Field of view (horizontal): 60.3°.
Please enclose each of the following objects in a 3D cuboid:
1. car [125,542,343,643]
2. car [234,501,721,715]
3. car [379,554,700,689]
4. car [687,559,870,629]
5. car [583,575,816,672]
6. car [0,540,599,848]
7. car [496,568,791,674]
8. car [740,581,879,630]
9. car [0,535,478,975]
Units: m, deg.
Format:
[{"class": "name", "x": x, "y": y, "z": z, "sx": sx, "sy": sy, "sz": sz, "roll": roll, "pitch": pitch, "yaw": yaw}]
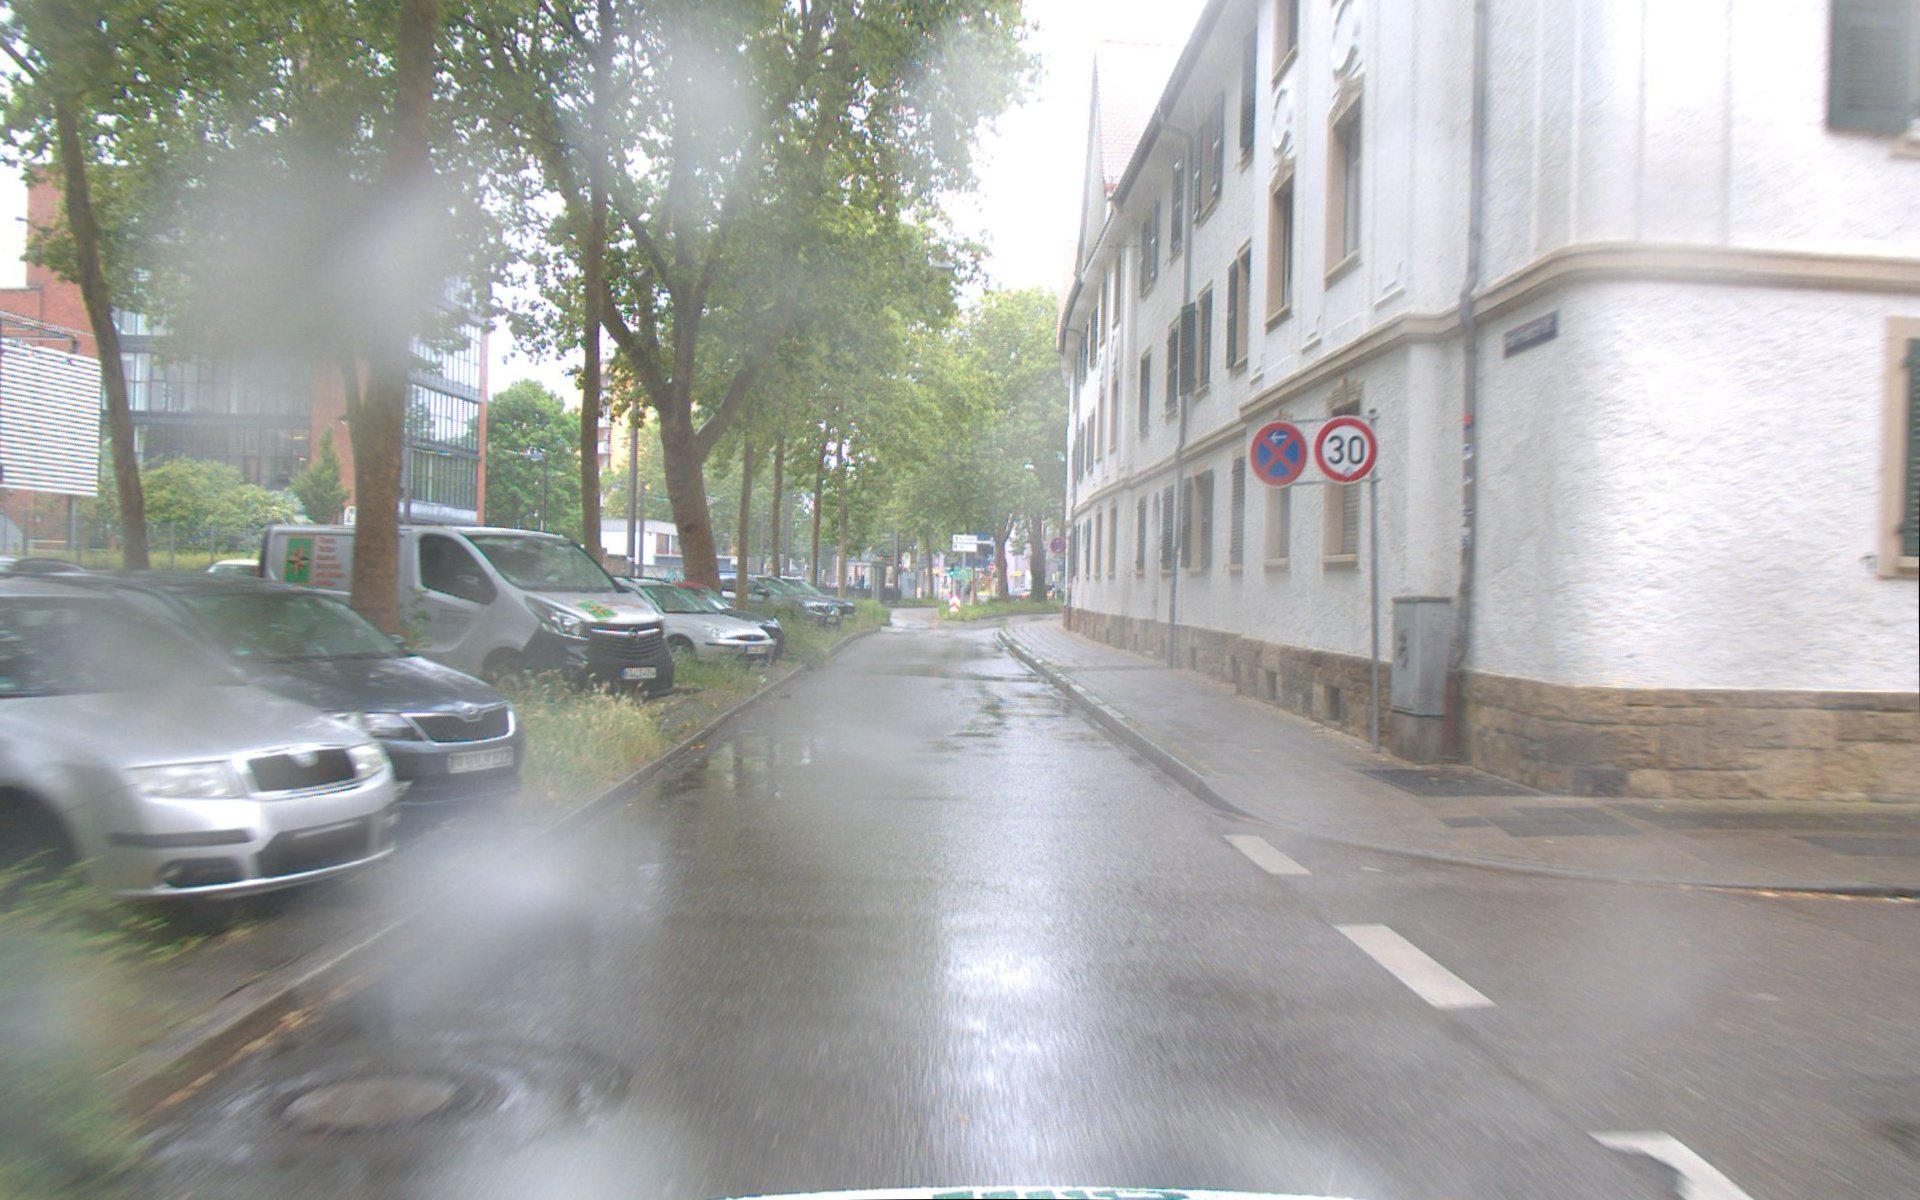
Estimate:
[{"class": "car", "x": -12.336, "y": -0.097, "z": 28.413, "sx": 1.953, "sy": 1.534, "sz": 3.999, "roll": 2, "pitch": -1, "yaw": -1}, {"class": "car", "x": -5.224, "y": 0.045, "z": 17.748, "sx": 5.019, "sy": 2.012, "sz": 2.099, "roll": 1, "pitch": -1, "yaw": 30}, {"class": "car", "x": -5.230, "y": 0.232, "z": 20.497, "sx": 3.704, "sy": 1.508, "sz": 1.719, "roll": 1, "pitch": 0, "yaw": 30}, {"class": "car", "x": -4.783, "y": -0.162, "z": 43.487, "sx": 4.371, "sy": 1.625, "sz": 1.921, "roll": 3, "pitch": 0, "yaw": 25}, {"class": "car", "x": -4.529, "y": 0.386, "z": 28.659, "sx": 3.734, "sy": 1.547, "sz": 1.719, "roll": 1, "pitch": -1, "yaw": 30}, {"class": "car", "x": -4.515, "y": 0.445, "z": 10.252, "sx": 4.218, "sy": 1.462, "sz": 1.746, "roll": 4, "pitch": 1, "yaw": 26}, {"class": "car", "x": -5.011, "y": 0.303, "z": 26.061, "sx": 4.460, "sy": 1.508, "sz": 1.772, "roll": 1, "pitch": 0, "yaw": 29}, {"class": "car", "x": -4.973, "y": 0.151, "z": 54.629, "sx": 4.270, "sy": 1.539, "sz": 1.957, "roll": 1, "pitch": 1, "yaw": 30}, {"class": "car", "x": -4.390, "y": 0.473, "z": 7.477, "sx": 3.974, "sy": 1.525, "sz": 1.747, "roll": 3, "pitch": 1, "yaw": 23}]
